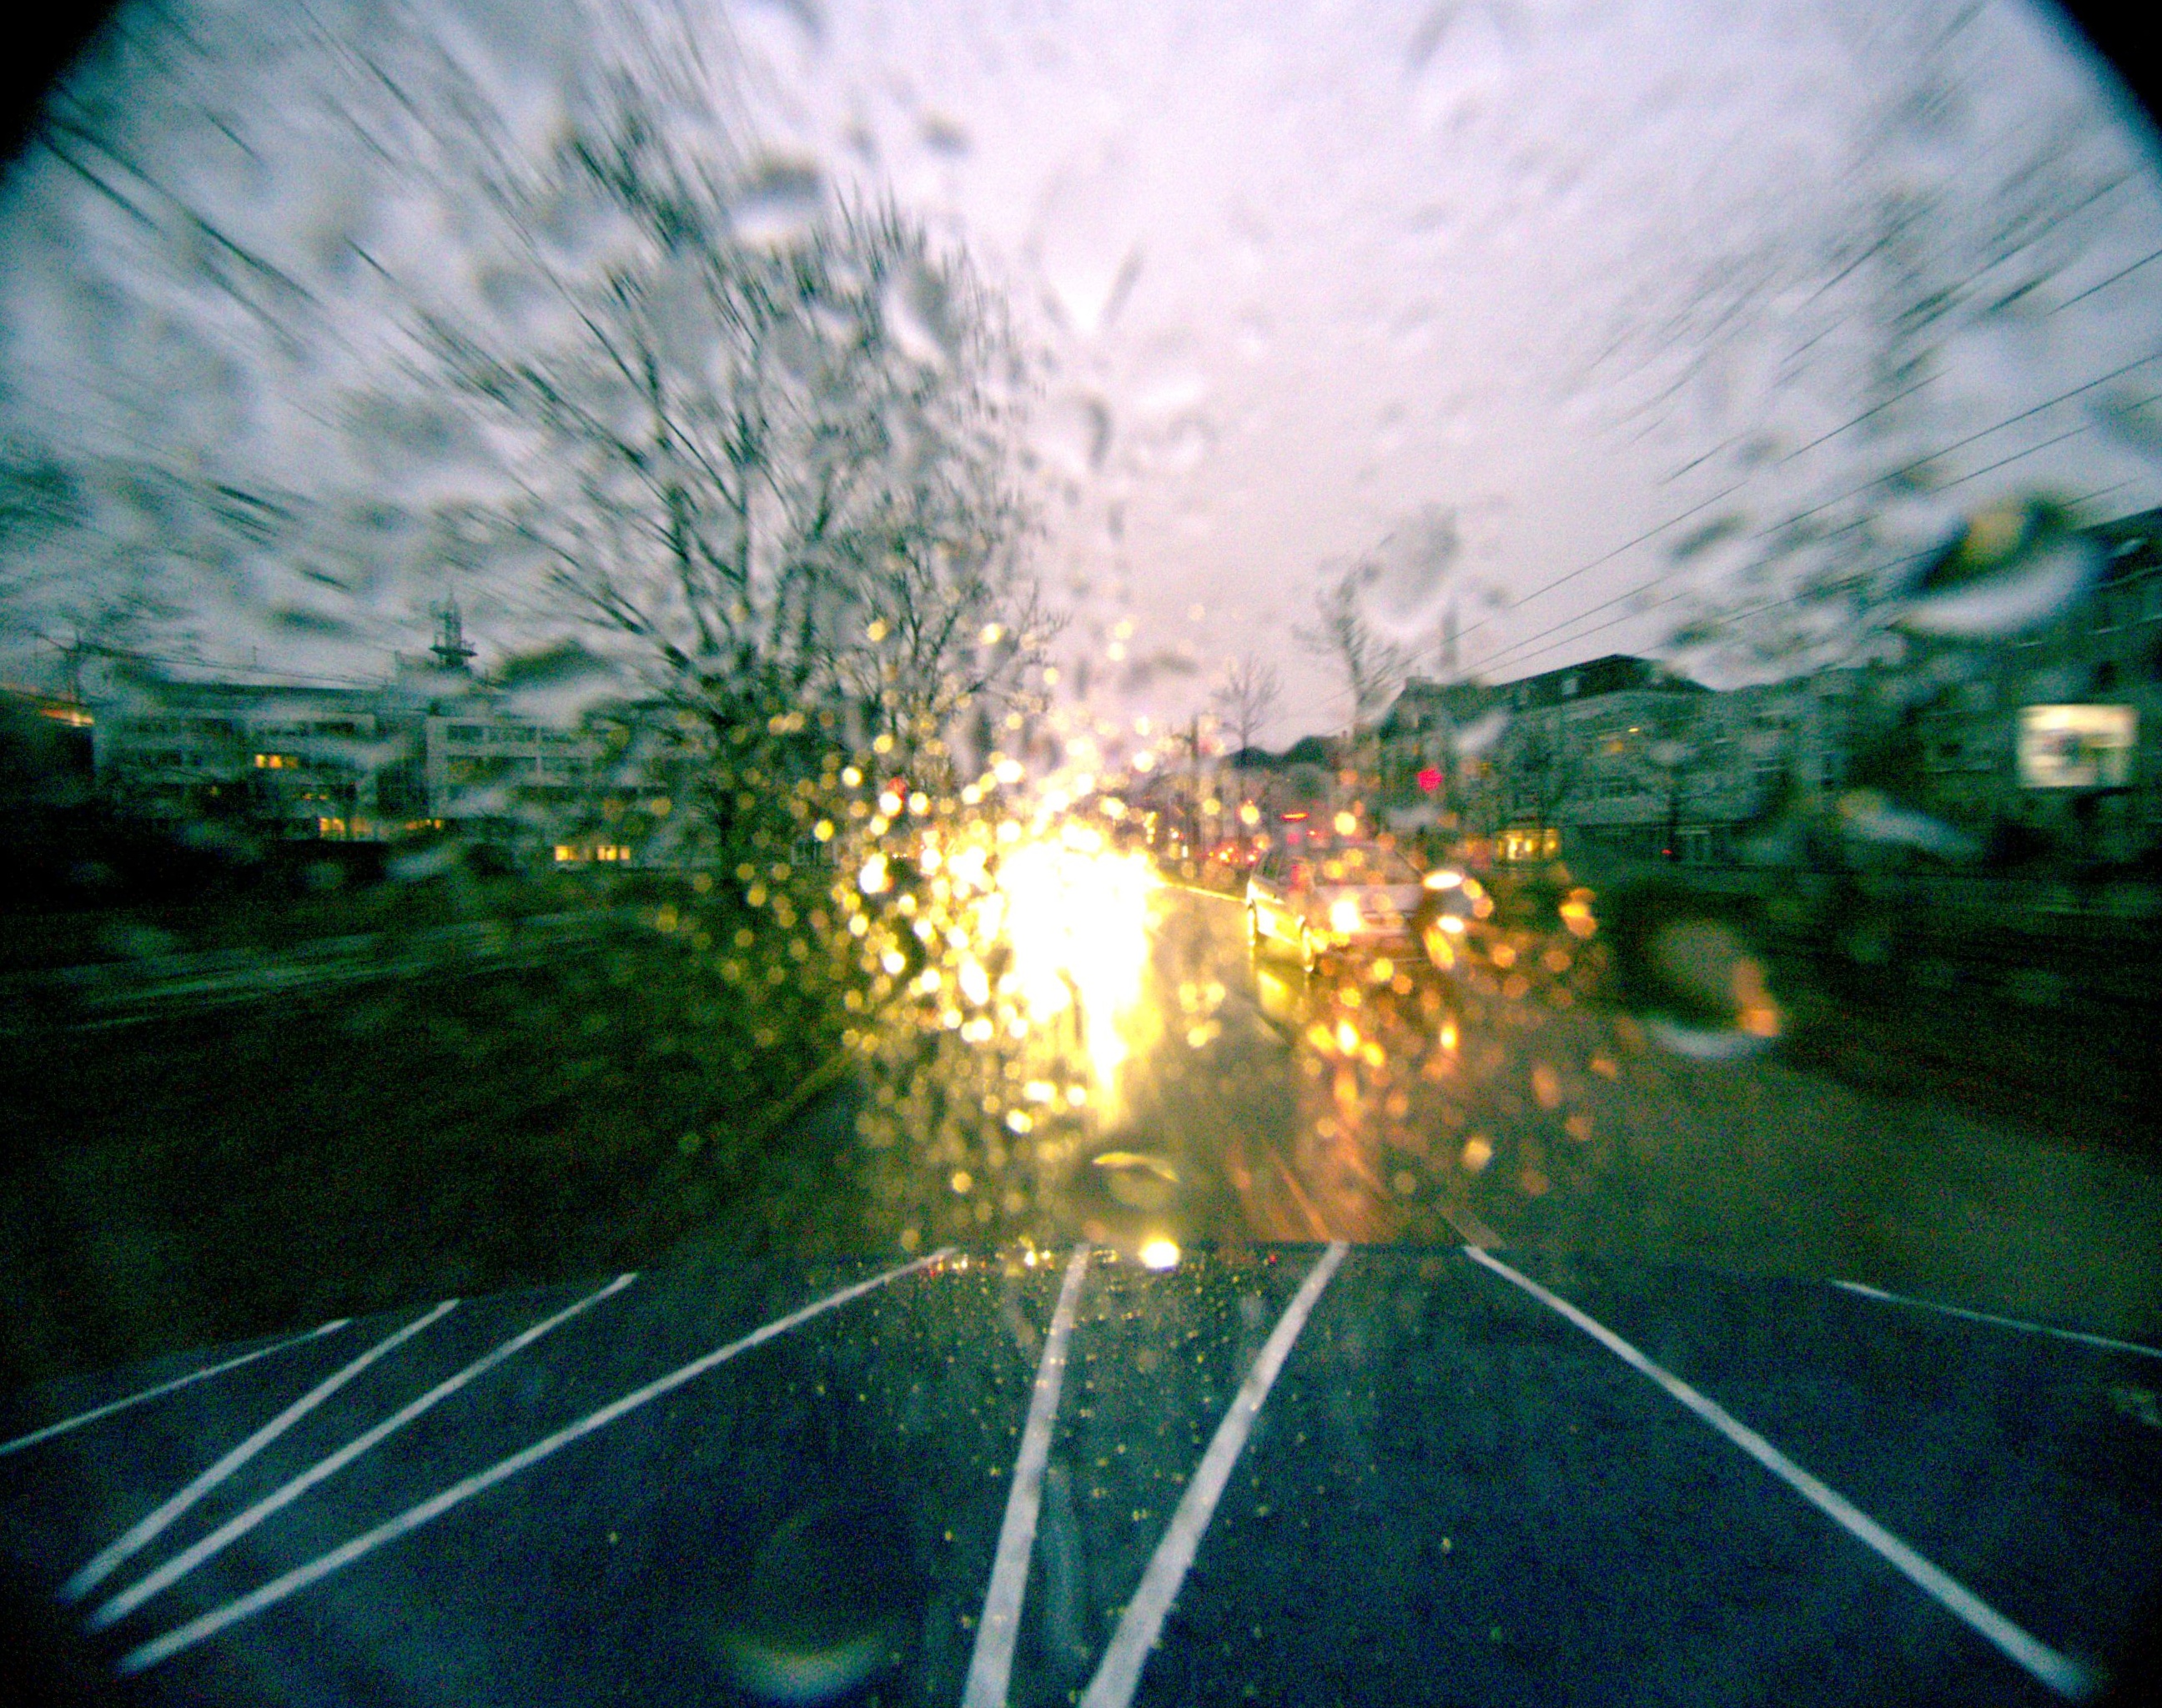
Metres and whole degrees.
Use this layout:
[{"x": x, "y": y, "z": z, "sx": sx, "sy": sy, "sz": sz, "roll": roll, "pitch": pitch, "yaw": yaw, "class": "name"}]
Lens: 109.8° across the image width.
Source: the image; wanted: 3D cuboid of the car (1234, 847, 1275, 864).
[{"x": 14.209, "y": 0.128, "z": 62.431, "sx": 1.898, "sy": 1.347, "sz": 4.286, "roll": -1, "pitch": 0, "yaw": -8, "class": "car"}]

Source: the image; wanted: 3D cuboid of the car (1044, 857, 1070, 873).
[{"x": -2.244, "y": 1.020, "z": 70.074, "sx": 1.898, "sy": 1.347, "sz": 4.285, "roll": -1, "pitch": 0, "yaw": -10, "class": "car"}]

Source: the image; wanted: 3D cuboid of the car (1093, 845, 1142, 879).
[{"x": 1.740, "y": 0.351, "z": 38.009, "sx": 1.924, "sy": 1.546, "sz": 4.215, "roll": -3, "pitch": 1, "yaw": -4, "class": "car"}]

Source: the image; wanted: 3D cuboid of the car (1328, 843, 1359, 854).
[{"x": 37.123, "y": -0.765, "z": 107.475, "sx": 3.900, "sy": 1.467, "sz": 1.776, "roll": -1, "pitch": 1, "yaw": -10, "class": "car"}]

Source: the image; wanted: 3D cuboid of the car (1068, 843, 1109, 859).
[{"x": 0.970, "y": -0.372, "z": 96.374, "sx": 4.664, "sy": 1.846, "sz": 2.330, "roll": -1, "pitch": 1, "yaw": 18, "class": "car"}]

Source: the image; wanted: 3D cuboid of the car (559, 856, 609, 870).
[{"x": -54.456, "y": 1.004, "z": 83.370, "sx": 4.168, "sy": 1.430, "sz": 1.901, "roll": -1, "pitch": 1, "yaw": -18, "class": "car"}]

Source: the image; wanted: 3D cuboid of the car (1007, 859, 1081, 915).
[{"x": -0.979, "y": 0.863, "z": 21.733, "sx": 1.897, "sy": 1.347, "sz": 4.288, "roll": -1, "pitch": 0, "yaw": -1, "class": "car"}]

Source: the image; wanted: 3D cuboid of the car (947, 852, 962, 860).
[{"x": -21.439, "y": 0.378, "z": 128.712, "sx": 2.001, "sy": 1.316, "sz": 3.994, "roll": -1, "pitch": 1, "yaw": -15, "class": "car"}]

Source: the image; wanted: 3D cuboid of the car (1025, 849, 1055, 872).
[{"x": -3.041, "y": 0.418, "z": 55.241, "sx": 1.950, "sy": 1.546, "sz": 4.214, "roll": -3, "pitch": 1, "yaw": -5, "class": "car"}]

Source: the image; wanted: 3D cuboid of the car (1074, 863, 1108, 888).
[{"x": 0.660, "y": 1.486, "z": 54.332, "sx": 1.845, "sy": 1.546, "sz": 4.214, "roll": -3, "pitch": 1, "yaw": -6, "class": "car"}]

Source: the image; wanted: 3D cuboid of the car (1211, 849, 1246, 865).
[{"x": 13.297, "y": 0.248, "z": 68.864, "sx": 1.898, "sy": 1.347, "sz": 4.286, "roll": -1, "pitch": 0, "yaw": -7, "class": "car"}]

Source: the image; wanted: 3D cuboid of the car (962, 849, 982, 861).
[{"x": -15.032, "y": 0.149, "z": 104.565, "sx": 1.952, "sy": 1.546, "sz": 4.211, "roll": -3, "pitch": 1, "yaw": -17, "class": "car"}]

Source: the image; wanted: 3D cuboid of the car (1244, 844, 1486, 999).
[{"x": 3.352, "y": 0.675, "z": 9.791, "sx": 1.669, "sy": 1.566, "sz": 3.922, "roll": -1, "pitch": 1, "yaw": 1, "class": "car"}]

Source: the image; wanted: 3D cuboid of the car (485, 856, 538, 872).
[{"x": -61.839, "y": 1.060, "z": 82.640, "sx": 4.151, "sy": 1.622, "sz": 1.997, "roll": -1, "pitch": 1, "yaw": -18, "class": "car"}]
